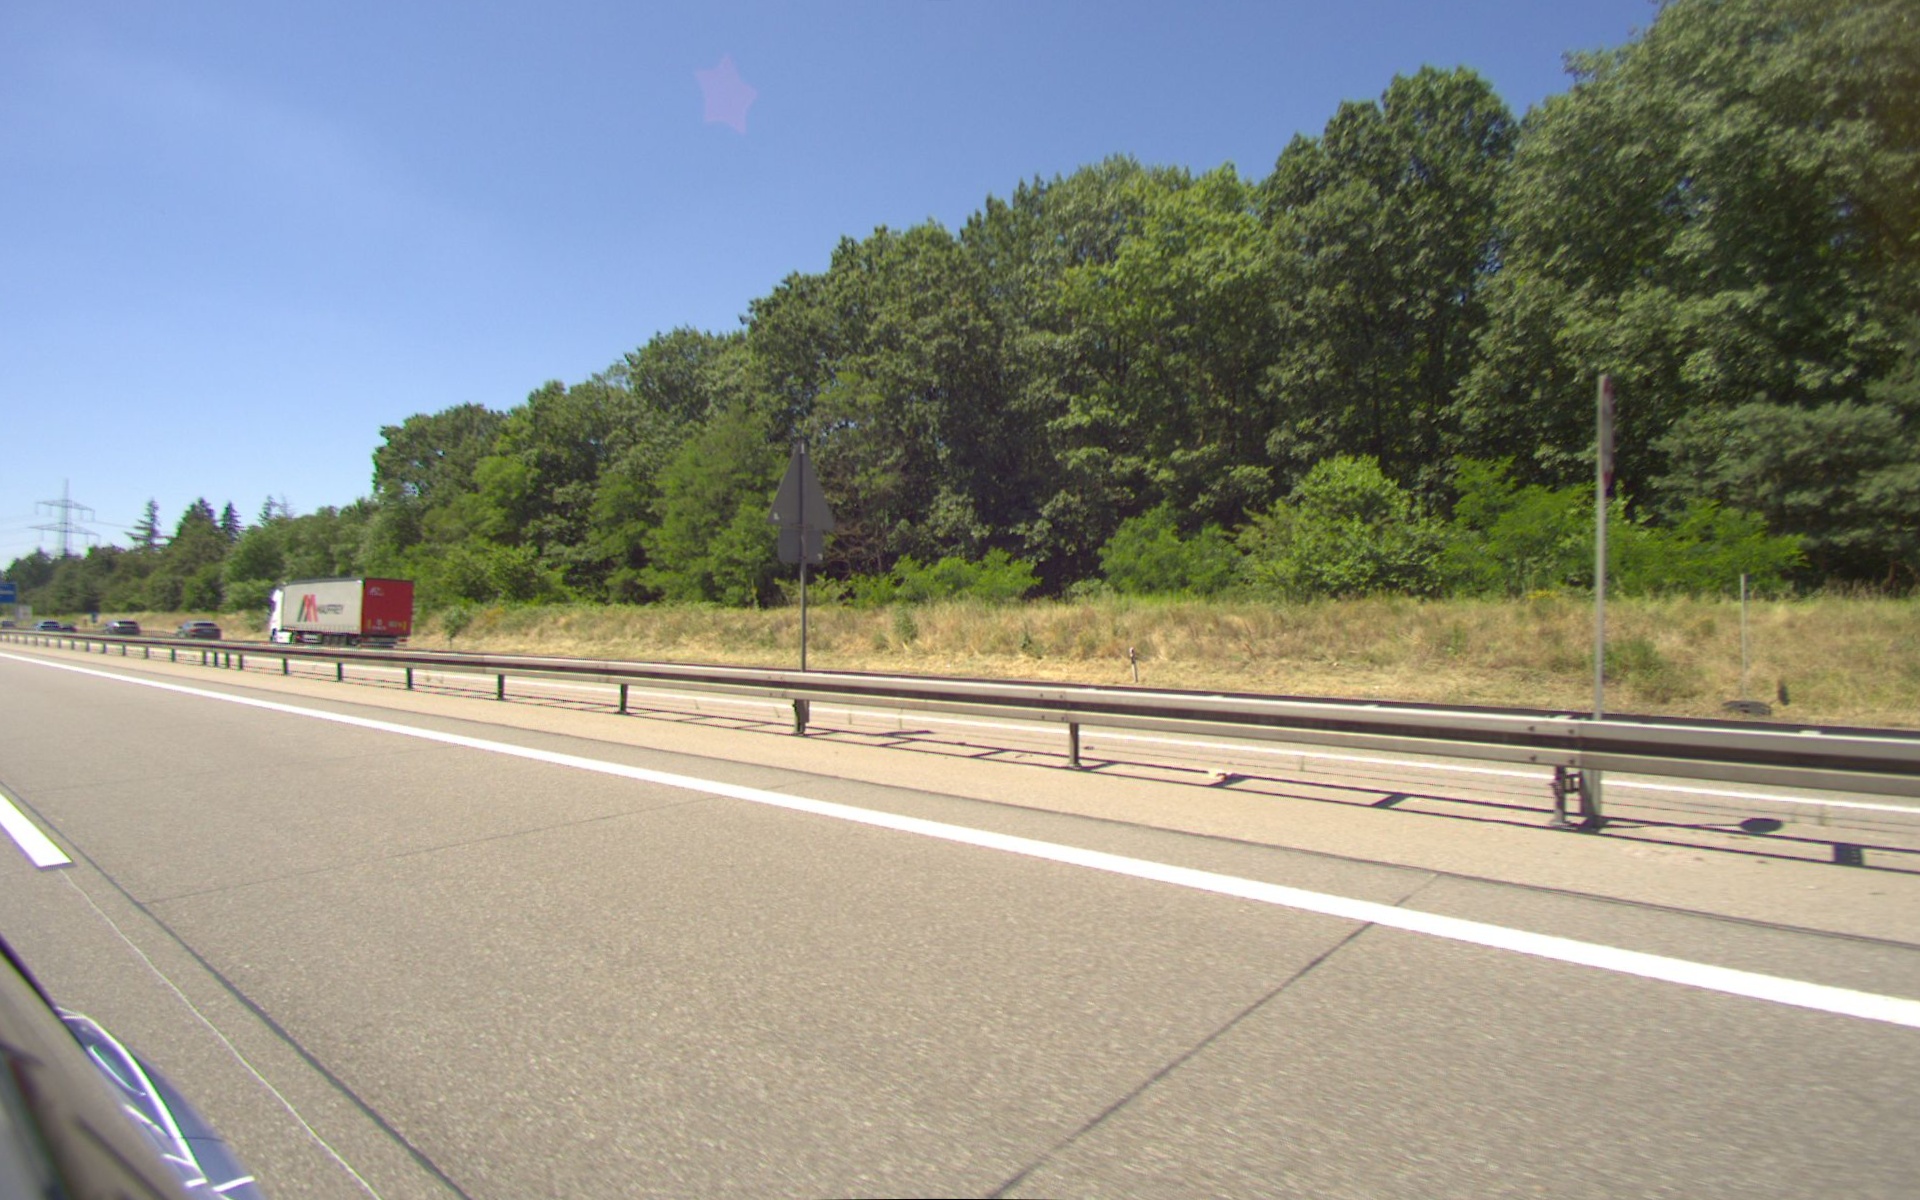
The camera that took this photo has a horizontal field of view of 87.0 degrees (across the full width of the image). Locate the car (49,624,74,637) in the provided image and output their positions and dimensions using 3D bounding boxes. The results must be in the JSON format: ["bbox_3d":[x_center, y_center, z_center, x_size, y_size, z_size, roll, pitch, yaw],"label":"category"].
[{"bbox_3d":[-109.107,3.710,122.887,3.868,1.427,1.753,-1,-4,41],"label":"car"}]

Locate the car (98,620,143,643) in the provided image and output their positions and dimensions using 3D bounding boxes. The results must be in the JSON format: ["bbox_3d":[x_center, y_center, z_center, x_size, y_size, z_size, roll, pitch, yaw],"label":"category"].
[{"bbox_3d":[-66.620,2.478,80.251,4.718,1.693,1.870,-1,-4,40],"label":"car"}]

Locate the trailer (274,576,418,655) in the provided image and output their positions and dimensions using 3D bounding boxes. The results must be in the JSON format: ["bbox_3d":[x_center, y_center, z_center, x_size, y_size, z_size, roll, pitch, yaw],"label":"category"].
[{"bbox_3d":[-36.544,0.994,59.823,14.539,4.151,2.783,-1,-4,41],"label":"trailer"}]

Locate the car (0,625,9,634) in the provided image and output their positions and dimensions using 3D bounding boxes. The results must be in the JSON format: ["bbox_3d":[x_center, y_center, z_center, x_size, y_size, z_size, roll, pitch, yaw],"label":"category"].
[{"bbox_3d":[-165.128,5.048,174.000,3.906,1.534,1.753,-1,-4,41],"label":"car"}]

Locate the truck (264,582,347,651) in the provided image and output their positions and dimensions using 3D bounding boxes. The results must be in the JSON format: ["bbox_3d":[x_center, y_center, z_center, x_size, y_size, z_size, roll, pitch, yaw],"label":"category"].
[{"bbox_3d":[-41.476,1.080,64.112,5.672,4.151,2.783,-1,-4,41],"label":"truck"}]

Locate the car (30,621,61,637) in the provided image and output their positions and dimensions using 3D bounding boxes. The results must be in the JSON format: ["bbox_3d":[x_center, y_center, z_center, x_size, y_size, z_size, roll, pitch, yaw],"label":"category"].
[{"bbox_3d":[-92.345,2.892,102.157,3.906,1.534,1.753,-1,-4,41],"label":"car"}]

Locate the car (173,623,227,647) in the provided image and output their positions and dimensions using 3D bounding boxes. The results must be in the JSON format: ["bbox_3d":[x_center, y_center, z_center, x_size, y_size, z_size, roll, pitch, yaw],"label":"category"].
[{"bbox_3d":[-49.939,2.289,66.470,4.580,1.445,1.869,-1,-4,41],"label":"car"}]
